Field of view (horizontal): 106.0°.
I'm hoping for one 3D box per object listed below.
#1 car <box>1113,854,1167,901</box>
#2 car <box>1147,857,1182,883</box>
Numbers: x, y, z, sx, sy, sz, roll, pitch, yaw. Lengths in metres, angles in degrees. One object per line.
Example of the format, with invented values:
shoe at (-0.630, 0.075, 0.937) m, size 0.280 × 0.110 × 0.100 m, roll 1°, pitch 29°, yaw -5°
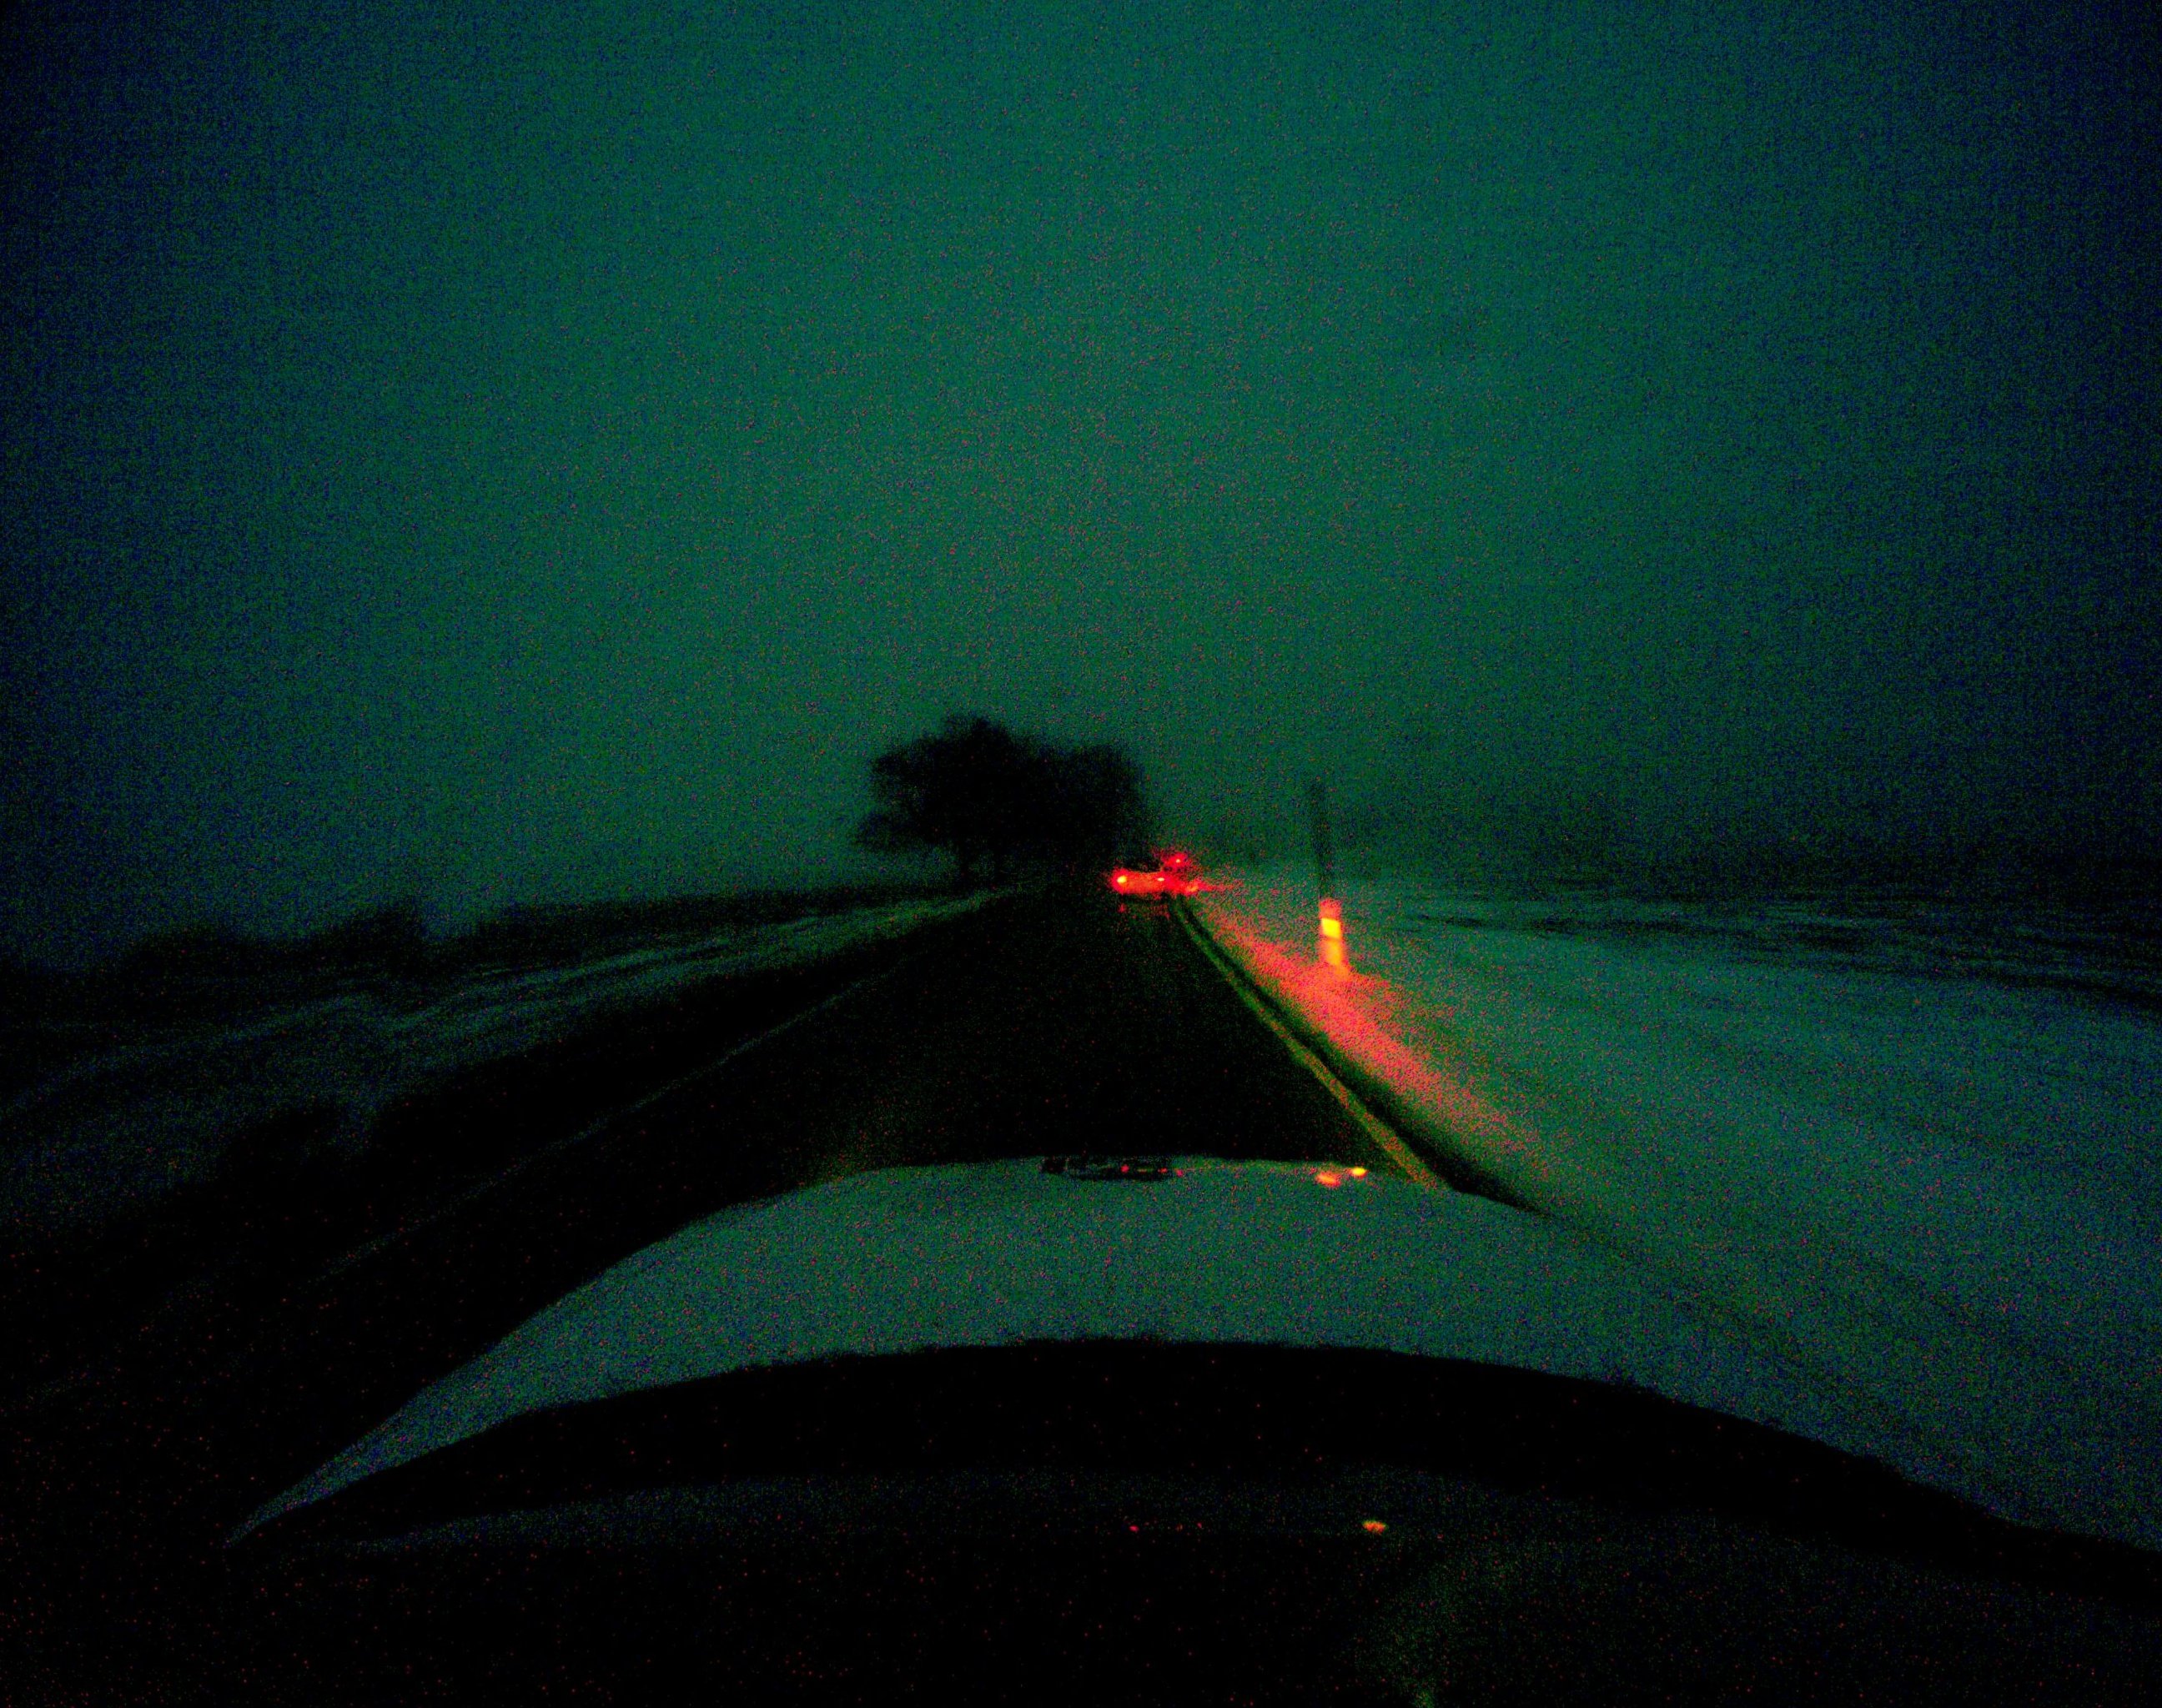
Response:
car at (2.010, 0.748, 28.063) m, size 1.699 × 1.463 × 4.004 m, roll -1°, pitch 0°, yaw 4°
car at (5.272, 0.997, 51.019) m, size 1.467 × 1.508 × 3.067 m, roll -2°, pitch 0°, yaw 18°
